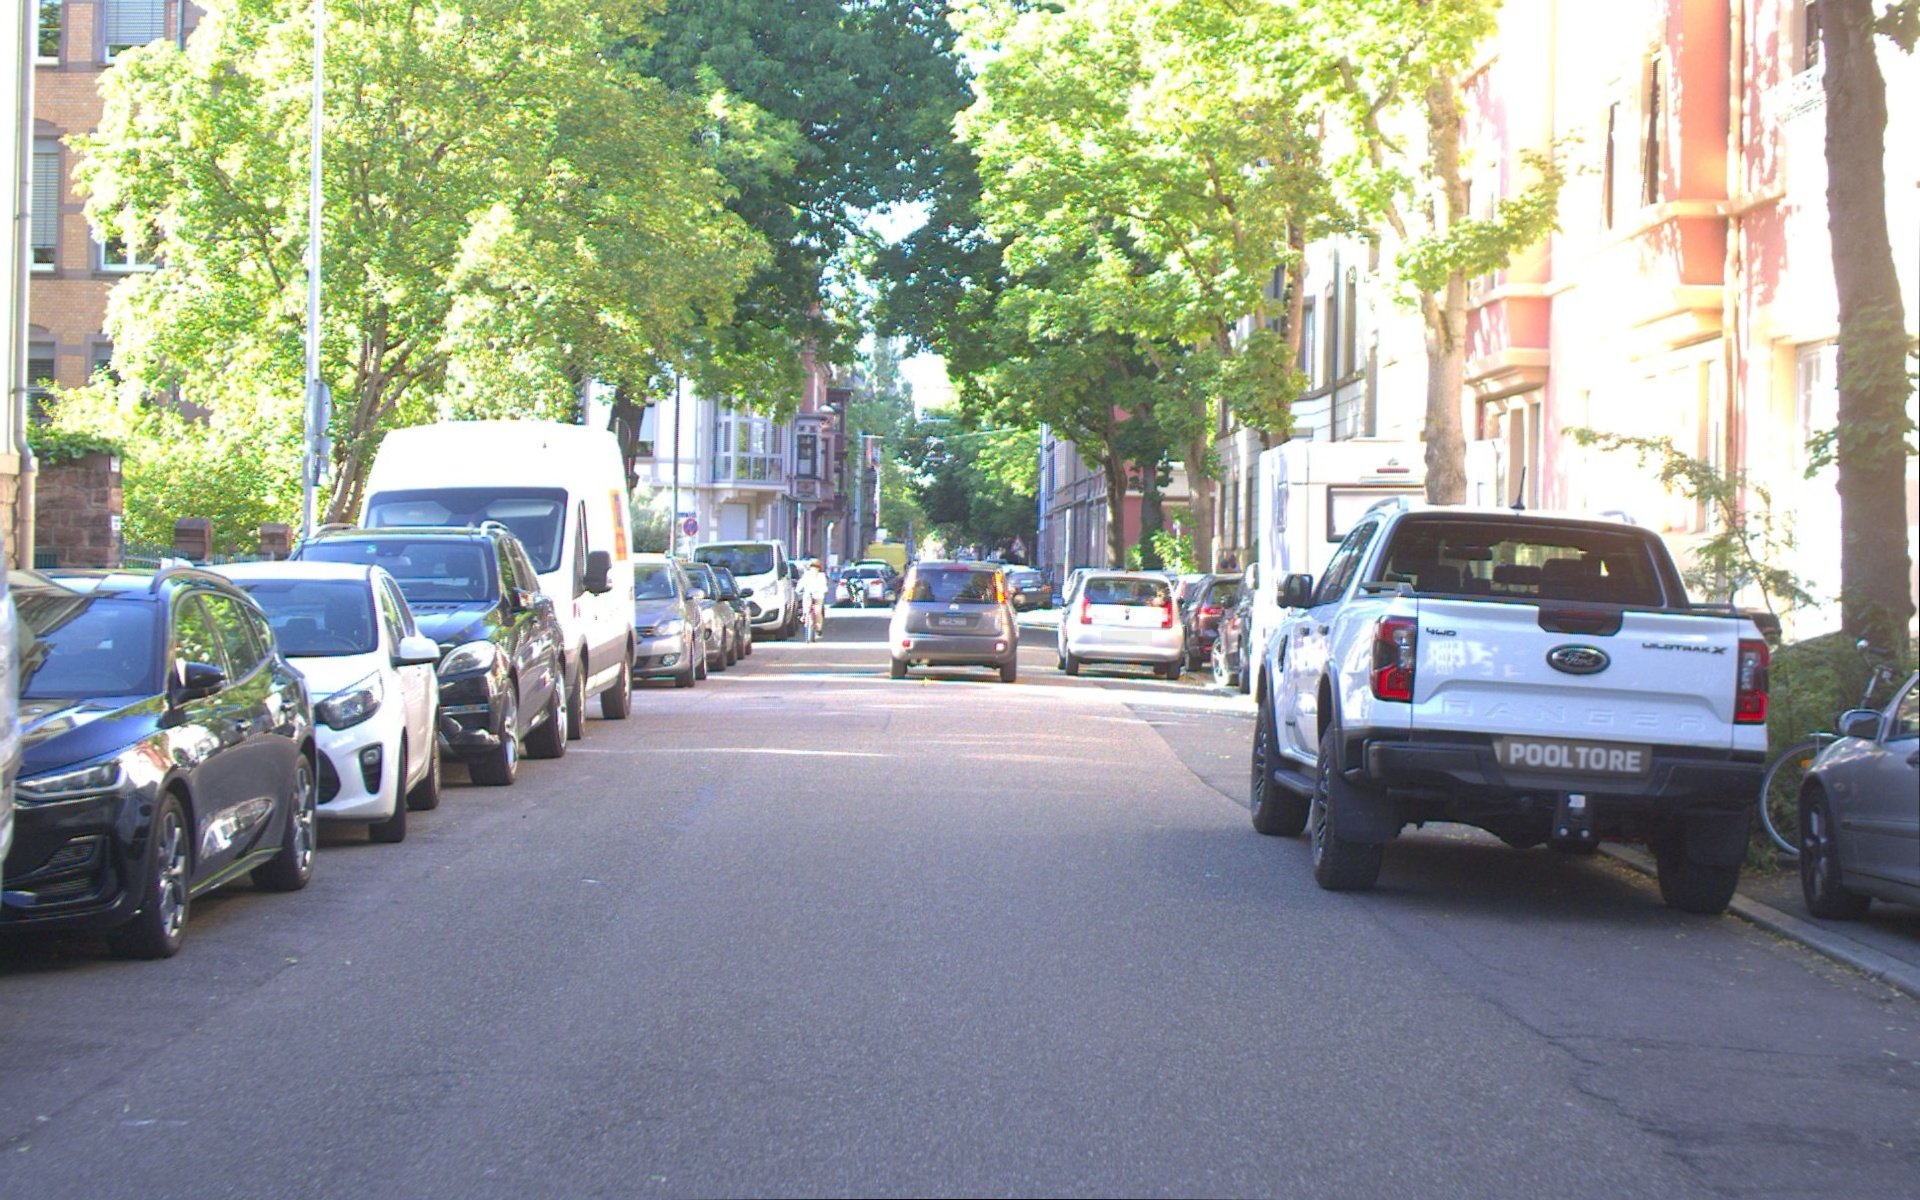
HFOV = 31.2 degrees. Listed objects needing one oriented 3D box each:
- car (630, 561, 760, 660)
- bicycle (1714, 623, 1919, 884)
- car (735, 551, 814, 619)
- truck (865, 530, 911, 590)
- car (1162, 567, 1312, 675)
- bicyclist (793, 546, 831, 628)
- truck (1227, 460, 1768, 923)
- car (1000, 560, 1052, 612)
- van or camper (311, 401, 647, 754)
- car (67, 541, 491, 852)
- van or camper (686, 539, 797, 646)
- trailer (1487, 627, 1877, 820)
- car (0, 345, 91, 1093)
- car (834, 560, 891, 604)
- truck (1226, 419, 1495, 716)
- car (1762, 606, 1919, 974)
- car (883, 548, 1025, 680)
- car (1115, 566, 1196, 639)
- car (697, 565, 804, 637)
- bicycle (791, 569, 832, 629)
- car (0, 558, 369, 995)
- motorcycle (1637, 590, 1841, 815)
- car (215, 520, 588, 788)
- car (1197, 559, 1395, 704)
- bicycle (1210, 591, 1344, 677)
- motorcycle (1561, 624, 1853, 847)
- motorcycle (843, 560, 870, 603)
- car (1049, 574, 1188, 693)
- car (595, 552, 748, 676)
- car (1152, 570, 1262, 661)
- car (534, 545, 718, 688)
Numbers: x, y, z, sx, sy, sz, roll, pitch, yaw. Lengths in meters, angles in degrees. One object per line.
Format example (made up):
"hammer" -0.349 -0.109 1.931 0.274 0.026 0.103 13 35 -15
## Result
"car" -4.075 0.132 53.441 1.713 1.390 4.780 -2 1 -1
"bicycle" 4.889 0.798 17.902 1.759 1.301 0.586 1 1 -2
"car" -4.507 -0.377 83.794 1.824 1.548 4.134 -2 1 -3
"truck" -3.606 -2.023 173.042 2.070 2.916 5.068 -2 1 1
"car" 4.192 0.287 52.619 1.786 1.508 4.460 2 1 -1
"bicyclist" -2.756 -0.249 64.115 0.651 1.503 0.625 1 1 0
"truck" 2.539 0.356 17.637 1.828 1.942 5.541 2 1 0
"car" 2.255 -0.488 117.954 1.663 1.663 3.757 2 1 1
"van or camper" -4.067 -0.214 30.083 2.128 2.759 5.852 -1 1 0
"car" -3.686 0.478 19.250 1.635 1.546 4.089 0 0 -1
"van or camper" -4.272 -0.165 67.970 1.921 1.973 5.462 -2 1 -1
"trailer" 4.514 0.766 21.566 2.079 1.108 1.116 2 1 -14
"car" -3.849 0.374 8.439 2.251 2.161 5.244 -1 1 -2
"car" -3.401 -0.644 120.433 1.797 1.427 3.925 -2 1 1
"truck" 4.285 -0.376 37.797 2.073 2.958 6.109 -1 1 -1
"car" 4.645 0.769 13.971 1.680 1.417 4.430 0 1 -1
"car" -0.113 0.166 43.973 1.632 1.545 3.264 3 0 -2
"car" 4.170 0.032 73.674 1.520 1.505 3.543 1 1 0
"car" -4.442 -0.011 73.490 2.001 1.452 4.606 -1 1 0
"bicycle" -2.759 -0.023 64.037 0.665 1.073 1.685 1 1 0
"car" -3.787 0.592 14.494 1.766 1.516 4.825 0 1 0
"motorcycle" 5.293 0.665 23.510 0.861 1.411 2.234 2 1 1
"car" -3.815 0.307 24.320 1.875 1.680 4.970 -1 1 -1
"car" 4.251 0.354 44.216 1.885 1.710 4.944 1 1 -2
"bicycle" 4.429 0.467 48.077 1.811 1.163 0.569 -1 1 -1
"motorcycle" 4.405 0.781 20.218 1.759 1.236 0.702 1 1 -39
"motorcycle" -3.524 -0.629 117.136 0.696 1.455 1.751 0 1 -10
"car" 2.237 0.447 49.301 1.679 1.539 3.800 2 1 -1
"car" -3.910 0.158 47.141 1.676 1.567 4.151 -2 1 1
"car" 4.192 0.239 58.841 1.596 1.483 3.748 0 1 0
"car" -3.917 0.161 40.935 1.780 1.585 4.469 -1 1 -1
